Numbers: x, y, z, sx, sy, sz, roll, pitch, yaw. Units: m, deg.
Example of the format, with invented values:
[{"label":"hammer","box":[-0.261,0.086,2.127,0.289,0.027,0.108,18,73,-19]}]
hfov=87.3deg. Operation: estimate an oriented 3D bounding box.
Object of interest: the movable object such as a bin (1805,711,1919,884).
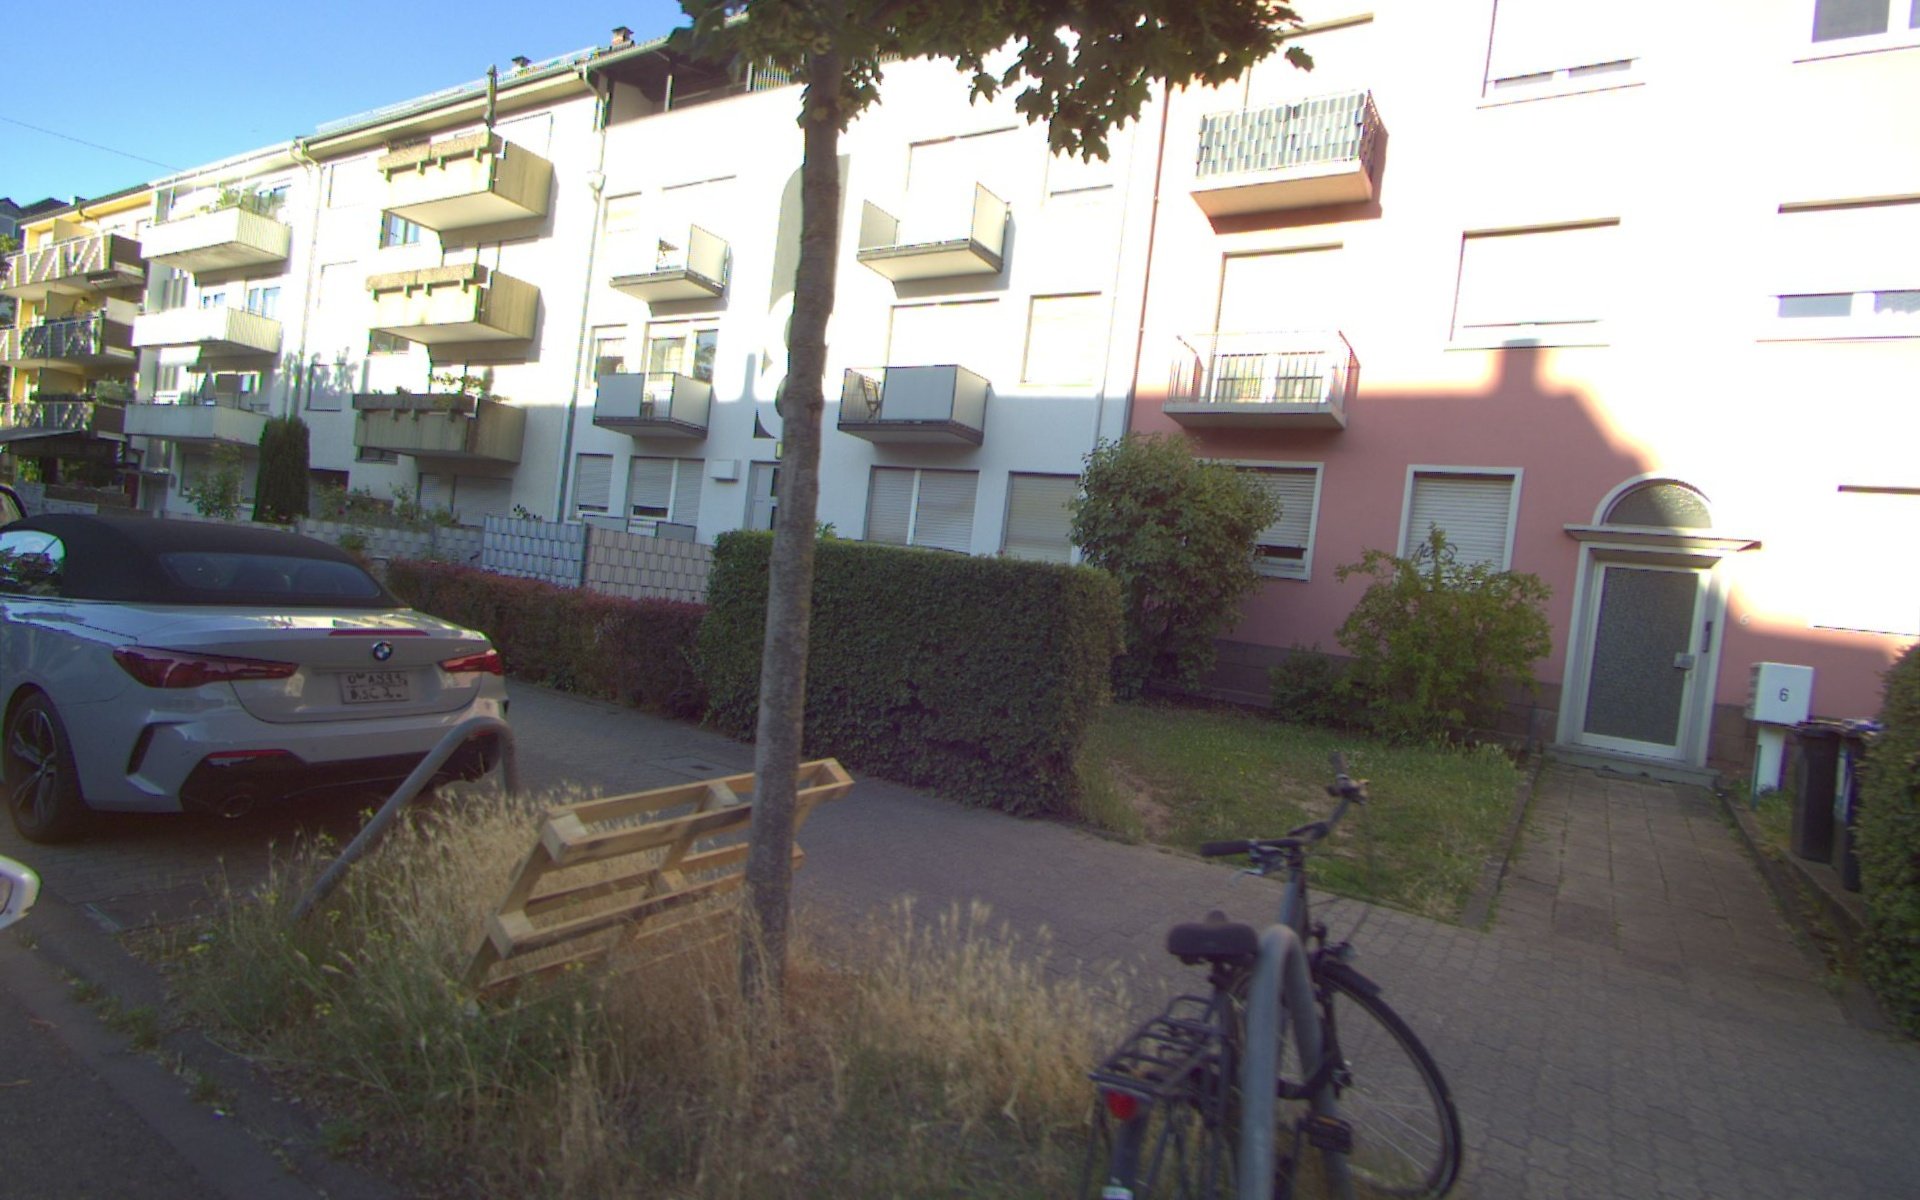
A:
[{"label":"movable object such as a bin","box":[6.312,1.318,6.743,0.783,1.015,0.777,8,1,32]}]

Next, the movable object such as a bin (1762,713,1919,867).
[{"label":"movable object such as a bin","box":[6.966,1.468,7.963,0.783,1.015,0.611,8,1,32]}]

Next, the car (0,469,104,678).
[{"label":"car","box":[-9.330,-0.395,8.699,3.694,1.662,1.775,6,0,31]}]

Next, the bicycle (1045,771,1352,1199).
[{"label":"bicycle","box":[0.574,1.036,2.262,0.404,1.072,1.481,7,0,20]}]

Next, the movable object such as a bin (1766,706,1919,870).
[{"label":"movable object such as a bin","box":[6.572,1.353,7.430,0.783,1.015,0.611,8,1,32]}]

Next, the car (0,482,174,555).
[{"label":"car","box":[-24.558,-2.255,27.812,1.793,1.480,3.994,8,0,29]}]

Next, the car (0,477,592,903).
[{"label":"car","box":[-4.540,0.183,5.720,4.664,1.505,1.923,7,1,29]}]

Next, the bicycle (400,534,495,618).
[{"label":"bicycle","box":[-7.817,-0.378,15.330,1.519,1.103,0.493,8,1,32]}]

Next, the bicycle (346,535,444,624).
[{"label":"bicycle","box":[-8.182,-0.302,14.555,1.519,1.103,0.493,8,1,32]}]

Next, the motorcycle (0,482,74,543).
[{"label":"motorcycle","box":[-29.164,-2.742,31.289,0.876,1.641,2.193,8,1,39]}]

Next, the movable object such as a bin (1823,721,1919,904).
[{"label":"movable object such as a bin","box":[5.927,1.319,6.167,0.783,1.015,0.582,8,1,32]}]

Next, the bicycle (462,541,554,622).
[{"label":"bicycle","box":[-7.254,-0.304,16.110,1.519,1.103,0.493,8,1,32]}]

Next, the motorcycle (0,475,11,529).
[{"label":"motorcycle","box":[-30.622,-3.153,30.729,0.720,1.641,2.193,8,1,39]}]
